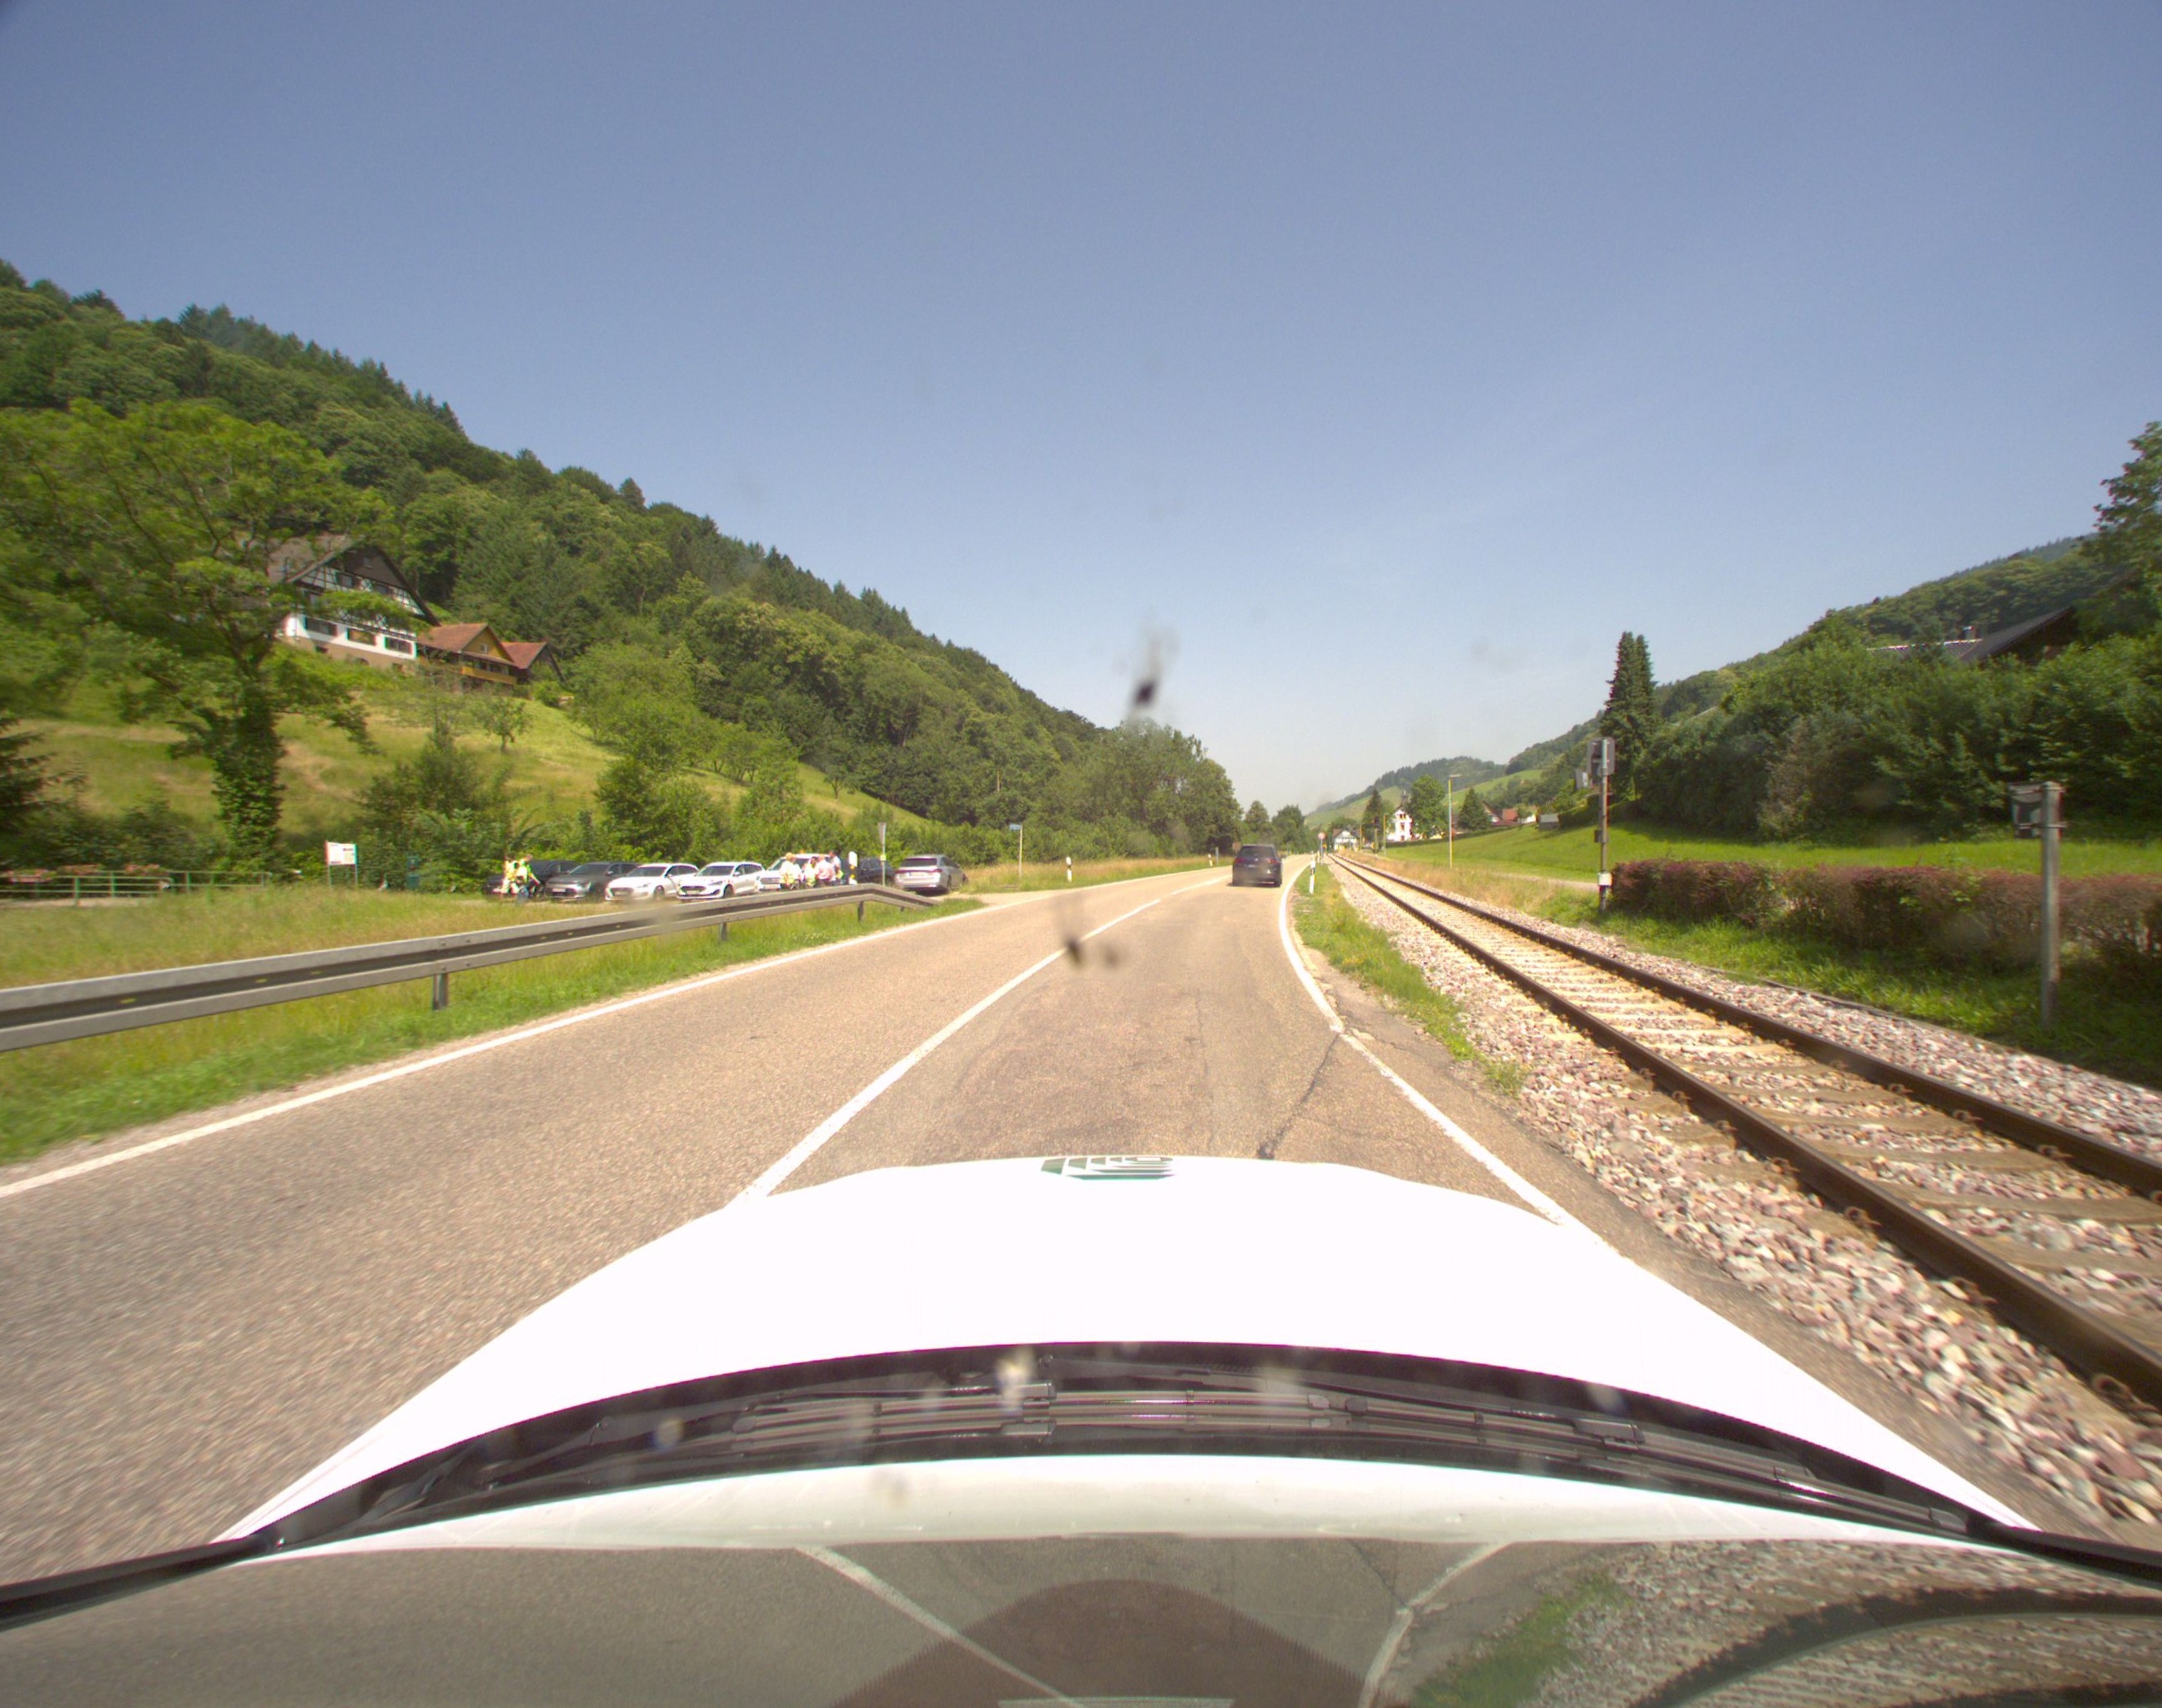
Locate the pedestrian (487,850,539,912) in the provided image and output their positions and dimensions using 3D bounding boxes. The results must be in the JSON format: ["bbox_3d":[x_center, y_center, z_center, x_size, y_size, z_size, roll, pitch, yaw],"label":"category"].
[{"bbox_3d":[-18.569,0.887,26.640,1.116,1.969,0.866,-2,0,20],"label":"pedestrian"}]

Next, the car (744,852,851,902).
[{"bbox_3d":[-10.918,0.828,31.804,1.860,1.782,4.784,-1,0,9],"label":"car"}]

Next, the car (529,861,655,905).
[{"bbox_3d":[-18.930,1.075,31.821,1.985,1.500,4.526,0,0,4],"label":"car"}]

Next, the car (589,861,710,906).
[{"bbox_3d":[-16.452,1.077,31.335,1.985,1.500,4.526,-2,0,4],"label":"car"}]

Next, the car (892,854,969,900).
[{"bbox_3d":[-5.469,0.782,30.124,1.819,1.500,4.280,-2,0,2],"label":"car"}]

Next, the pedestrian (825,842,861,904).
[{"bbox_3d":[-7.358,0.576,25.171,0.640,1.858,0.776,-2,0,39],"label":"pedestrian"}]

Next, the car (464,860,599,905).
[{"bbox_3d":[-21.409,1.055,31.989,1.985,1.500,4.526,-2,0,4],"label":"car"}]

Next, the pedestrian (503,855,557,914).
[{"bbox_3d":[-17.420,0.953,25.764,0.950,1.794,1.000,-2,0,2],"label":"pedestrian"}]

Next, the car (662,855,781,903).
[{"bbox_3d":[-13.762,0.907,31.581,1.983,1.641,4.910,-2,0,6],"label":"car"}]

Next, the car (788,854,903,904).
[{"bbox_3d":[-8.653,0.881,30.468,1.979,1.652,4.639,-2,0,14],"label":"car"}]

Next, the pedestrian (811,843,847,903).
[{"bbox_3d":[-7.919,0.590,25.616,0.640,1.840,0.776,-2,0,39],"label":"pedestrian"}]

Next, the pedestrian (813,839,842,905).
[{"bbox_3d":[-7.648,0.542,24.612,0.659,1.954,0.532,-2,0,-5],"label":"pedestrian"}]

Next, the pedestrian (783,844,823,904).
[{"bbox_3d":[-8.541,0.611,25.068,0.761,1.796,0.799,-2,0,32],"label":"pedestrian"}]

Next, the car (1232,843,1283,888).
[{"bbox_3d":[6.986,0.414,32.146,1.840,1.649,4.154,1,0,13],"label":"car"}]

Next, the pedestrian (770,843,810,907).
[{"bbox_3d":[-8.654,0.611,24.211,0.782,1.842,0.701,-2,0,16],"label":"pedestrian"}]
